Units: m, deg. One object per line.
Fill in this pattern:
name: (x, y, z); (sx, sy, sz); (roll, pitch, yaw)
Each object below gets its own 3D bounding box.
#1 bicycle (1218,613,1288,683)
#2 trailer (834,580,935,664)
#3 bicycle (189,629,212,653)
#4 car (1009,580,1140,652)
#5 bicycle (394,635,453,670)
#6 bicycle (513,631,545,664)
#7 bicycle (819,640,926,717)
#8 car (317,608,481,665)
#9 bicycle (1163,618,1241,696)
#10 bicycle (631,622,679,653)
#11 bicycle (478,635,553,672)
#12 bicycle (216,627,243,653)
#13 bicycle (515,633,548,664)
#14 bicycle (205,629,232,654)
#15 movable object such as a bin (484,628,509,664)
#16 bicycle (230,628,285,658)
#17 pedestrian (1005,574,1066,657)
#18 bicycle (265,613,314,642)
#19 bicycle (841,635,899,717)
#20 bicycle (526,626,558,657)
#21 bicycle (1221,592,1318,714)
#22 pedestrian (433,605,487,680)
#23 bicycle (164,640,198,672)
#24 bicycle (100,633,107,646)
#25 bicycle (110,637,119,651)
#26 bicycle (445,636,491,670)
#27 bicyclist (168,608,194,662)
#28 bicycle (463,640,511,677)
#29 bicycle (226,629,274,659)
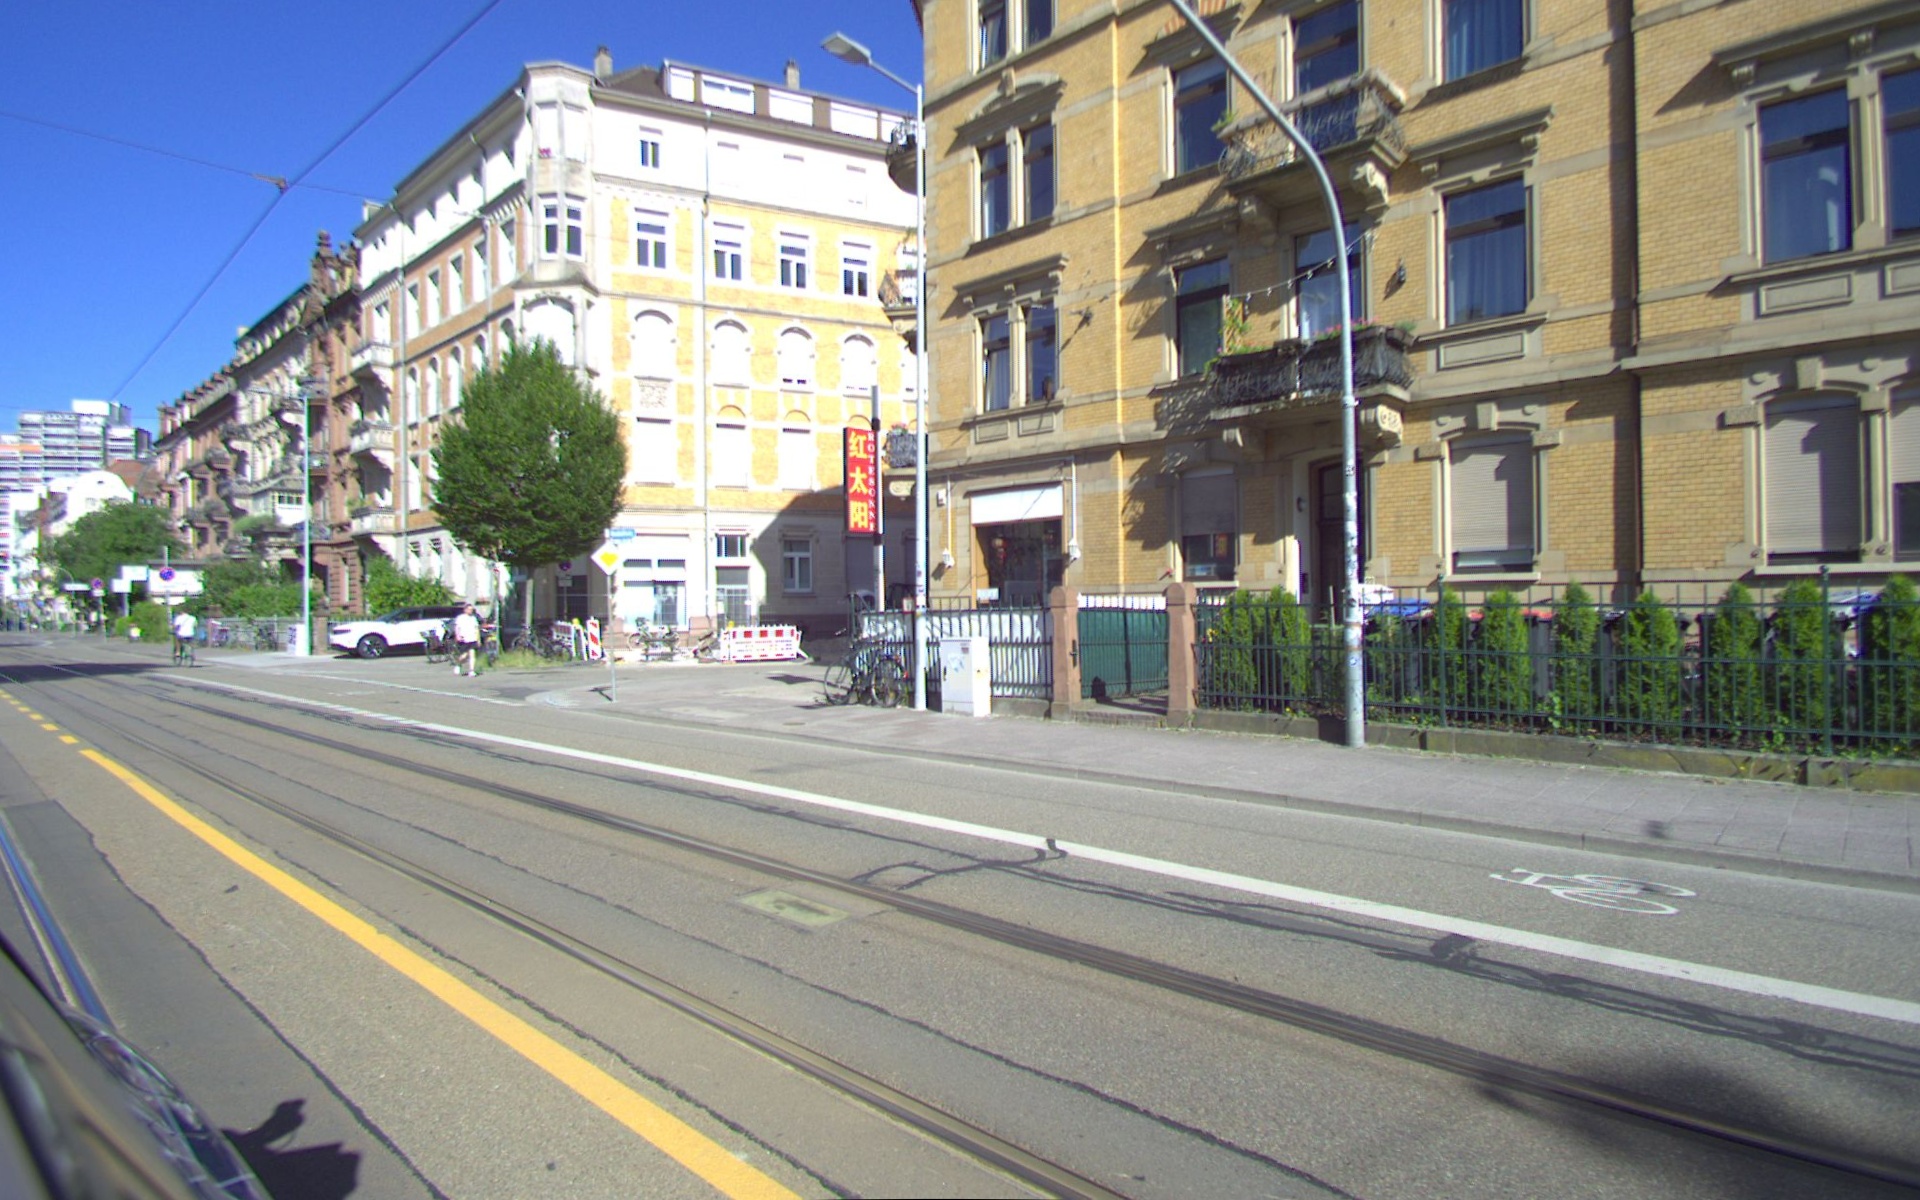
bicycle: (4.501, 0.712, 15.502); (0.389, 0.982, 1.519); (-2, 0, 41)
trailer: (-2.543, 0.745, 33.980); (2.878, 2.716, 1.834); (1, -1, -24)
bicycle: (-34.622, 1.895, 46.131); (1.768, 1.041, 0.557); (-3, -1, 44)
car: (4.364, 0.545, 38.648); (4.556, 2.521, 2.007); (-2, 2, -22)
bicycle: (-15.742, 1.521, 29.733); (0.613, 0.921, 1.785); (0, 0, 7)
bicycle: (-13.002, 1.415, 30.564); (0.611, 0.921, 1.297); (0, 0, -9)
bicycle: (-1.280, 1.092, 14.462); (1.870, 1.008, 0.331); (-2, 0, 43)
car: (-18.641, 1.148, 33.763); (4.395, 1.656, 1.968); (-2, 1, -45)
bicycle: (3.437, 0.779, 14.288); (0.389, 0.982, 1.519); (-2, 0, 41)
bicycle: (-10.866, 1.334, 36.049); (1.576, 1.045, 0.407); (-2, -2, -22)
bicycle: (-12.705, 1.526, 28.926); (1.964, 0.983, 0.579); (-1, 0, 8)
bicycle: (-30.352, 1.671, 42.039); (1.767, 1.041, 0.557); (-2, 0, 42)
bicycle: (-13.872, 1.556, 32.776); (0.244, 0.921, 1.539); (0, 0, 7)
bicycle: (-31.816, 1.783, 43.424); (1.767, 1.041, 0.557); (-2, 0, 42)
movable object such as a bin: (-14.570, 1.438, 31.812); (0.568, 1.079, 0.718); (-2, 0, -34)
bicycle: (-26.451, 1.627, 38.124); (1.746, 1.041, 0.564); (-3, -1, 7)
pedestrian: (1.283, 0.277, 17.147); (0.577, 1.363, 0.891); (-1, -3, 44)
bicycle: (-30.588, 1.260, 46.189); (0.565, 1.163, 1.743); (-2, 2, 42)
bicycle: (-1.306, 1.087, 14.702); (0.809, 1.135, 0.366); (-2, 0, 43)
bicycle: (-13.502, 1.322, 32.692); (0.244, 0.921, 1.539); (0, 0, 7)
bicycle: (3.729, 0.585, 12.089); (0.612, 1.330, 1.748); (-2, 0, 33)
pedestrian: (-12.016, 1.000, 24.311); (1.083, 1.736, 0.820); (0, 1, 45)
bicycle: (-23.527, 1.669, 30.564); (2.203, 0.933, 0.455); (-2, -3, 43)
bicycle: (-63.144, 2.907, 74.618); (0.338, 0.933, 1.945); (-2, 0, -42)
bicycle: (-58.226, 3.044, 69.694); (0.338, 0.933, 1.945); (-2, 0, -42)
bicycle: (-14.440, 1.541, 29.743); (0.613, 0.921, 1.292); (0, 0, 7)
bicyclist: (-23.579, 1.061, 30.640); (0.744, 1.631, 0.459); (-2, -4, 43)
bicycle: (-12.953, 1.591, 27.741); (0.613, 0.921, 1.292); (0, 0, 7)
bicycle: (-27.649, 1.725, 39.420); (1.753, 1.041, 0.561); (-3, 2, 19)
